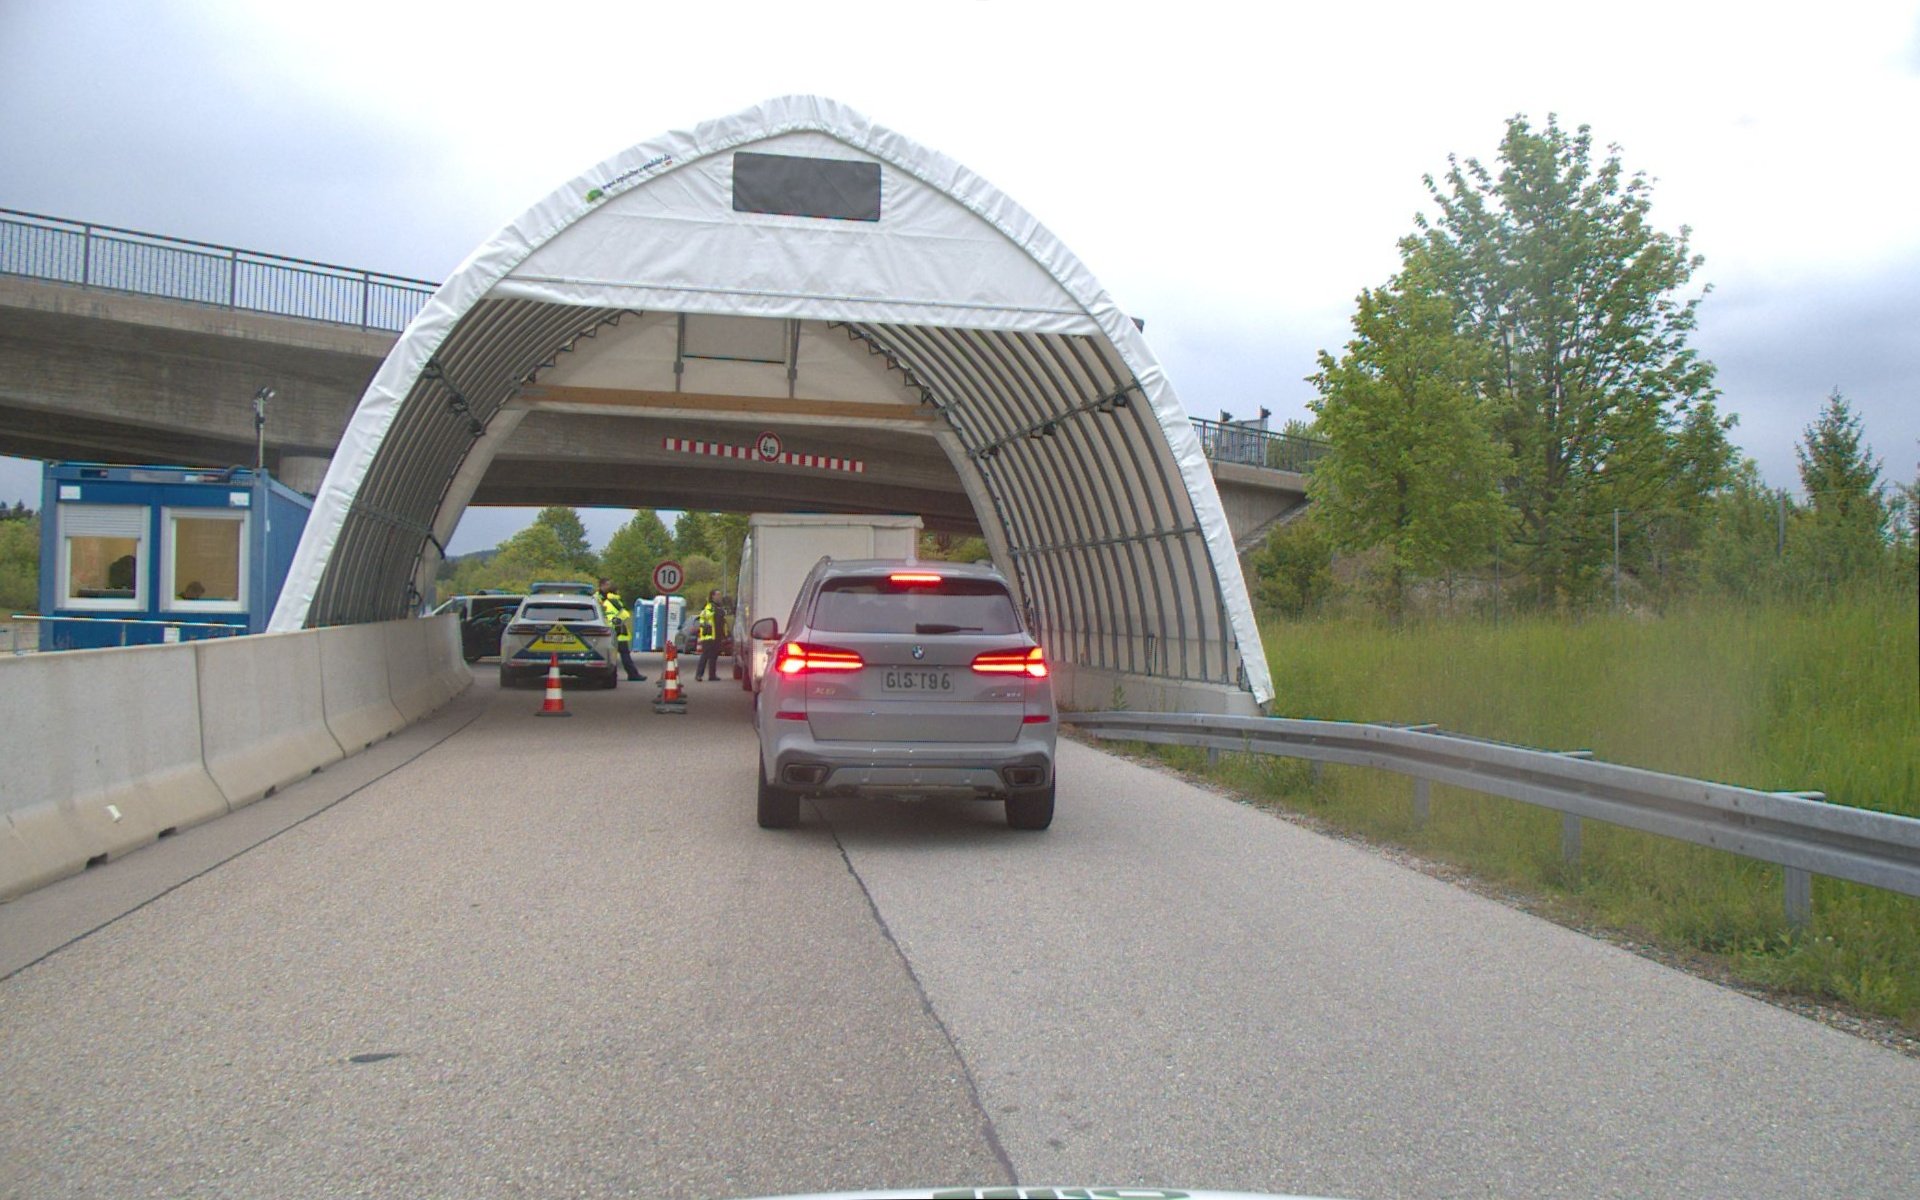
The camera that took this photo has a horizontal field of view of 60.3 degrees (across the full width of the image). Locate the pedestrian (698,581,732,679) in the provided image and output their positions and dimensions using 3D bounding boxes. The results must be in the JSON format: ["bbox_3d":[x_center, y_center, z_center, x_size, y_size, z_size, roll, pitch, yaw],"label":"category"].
[{"bbox_3d":[-4.563,0.554,30.787,0.593,1.807,0.648,0,-1,-11],"label":"pedestrian"}]

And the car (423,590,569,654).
[{"bbox_3d":[-14.074,0.655,50.276,3.903,1.886,1.710,0,0,4],"label":"car"}]

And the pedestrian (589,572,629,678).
[{"bbox_3d":[-6.629,0.463,31.256,0.707,1.979,0.688,0,-1,-11],"label":"pedestrian"}]

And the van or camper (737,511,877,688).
[{"bbox_3d":[-2.833,0.051,29.354,2.117,2.812,5.859,0,-1,-9],"label":"van or camper"}]

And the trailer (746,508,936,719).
[{"bbox_3d":[-1.830,0.222,22.960,2.236,2.473,6.805,0,-1,-7],"label":"trailer"}]

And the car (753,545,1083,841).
[{"bbox_3d":[-0.371,0.574,11.843,1.954,1.750,3.997,0,-1,-4],"label":"car"}]

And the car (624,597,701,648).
[{"bbox_3d":[-12.471,0.912,69.169,1.973,2.049,3.959,0,0,-30],"label":"car"}]

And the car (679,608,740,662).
[{"bbox_3d":[-9.034,1.218,59.425,1.676,1.886,3.982,0,0,-16],"label":"car"}]

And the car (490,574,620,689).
[{"bbox_3d":[-6.760,0.502,27.937,1.958,1.803,3.754,0,0,-12],"label":"car"}]

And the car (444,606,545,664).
[{"bbox_3d":[-12.214,0.887,43.325,1.503,1.467,3.272,0,0,-37],"label":"car"}]

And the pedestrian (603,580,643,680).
[{"bbox_3d":[-6.178,0.544,30.361,0.707,1.807,0.688,0,-1,-11],"label":"pedestrian"}]
